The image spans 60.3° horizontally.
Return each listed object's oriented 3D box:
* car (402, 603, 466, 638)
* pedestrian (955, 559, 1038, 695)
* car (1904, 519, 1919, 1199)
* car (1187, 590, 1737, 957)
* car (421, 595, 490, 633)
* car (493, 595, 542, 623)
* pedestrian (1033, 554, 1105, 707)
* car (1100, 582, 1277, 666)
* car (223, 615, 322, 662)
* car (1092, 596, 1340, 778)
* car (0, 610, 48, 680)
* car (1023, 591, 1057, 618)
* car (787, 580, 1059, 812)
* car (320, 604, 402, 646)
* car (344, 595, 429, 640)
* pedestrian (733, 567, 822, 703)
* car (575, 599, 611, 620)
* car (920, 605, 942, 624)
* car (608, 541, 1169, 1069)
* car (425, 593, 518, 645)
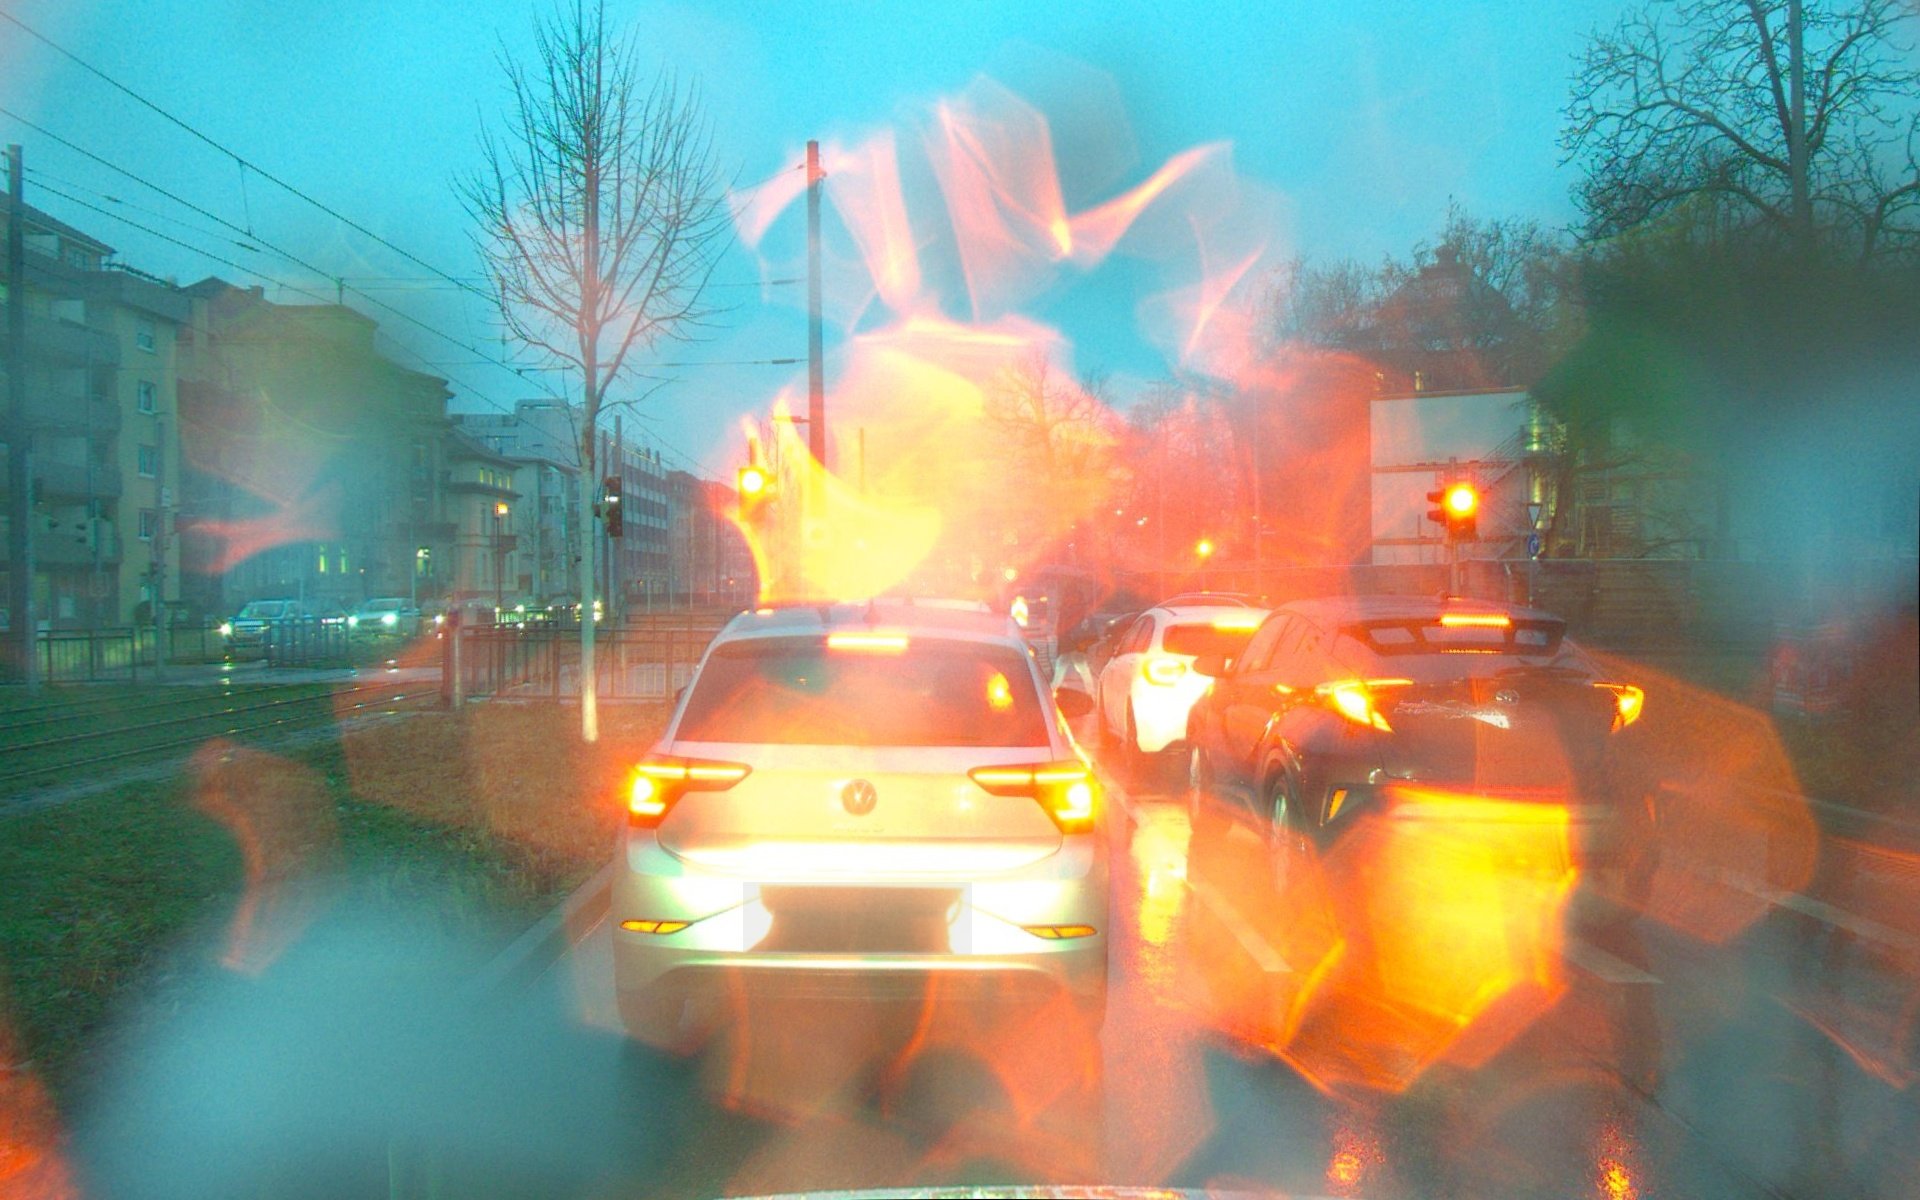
[{"bbox_3d":[-26.041,0.993,82.025,1.910,1.630,4.000,1,0,0],"label":"car"},{"bbox_3d":[0.554,0.404,25.655,0.946,2.049,1.000,-1,0,-23],"label":"pedestrian"},{"bbox_3d":[2.917,0.641,0.812,1.826,1.583,4.934,-1,1,-4],"label":"car"},{"bbox_3d":[2.405,0.729,8.977,1.763,1.537,3.895,-1,0,-1],"label":"car"},{"bbox_3d":[-23.001,0.619,75.575,1.910,1.630,4.000,1,0,0],"label":"car"},{"bbox_3d":[-27.234,0.542,101.839,1.910,1.630,4.000,1,0,0],"label":"car"},{"bbox_3d":[1.491,0.406,22.761,0.939,2.049,1.008,-1,0,2],"label":"pedestrian"},{"bbox_3d":[5.819,0.577,41.986,4.181,1.977,2.001,1,0,16],"label":"car"},{"bbox_3d":[-20.664,1.131,49.880,1.658,1.300,4.142,-1,0,-7],"label":"car"},{"bbox_3d":[2.255,0.715,15.469,1.710,1.458,3.731,1,0,0],"label":"car"},{"bbox_3d":[-19.860,0.891,32.223,1.821,1.355,4.314,1,0,-1],"label":"car"},{"bbox_3d":[4.504,0.236,93.578,1.702,1.444,3.703,-1,0,-1],"label":"car"},{"bbox_3d":[-0.265,0.609,13.152,1.762,1.492,4.585,-1,1,-1],"label":"car"},{"bbox_3d":[-24.806,1.013,68.638,1.910,1.630,4.000,1,0,0],"label":"car"},{"bbox_3d":[-21.240,0.626,61.422,1.829,1.604,3.999,-1,0,-1],"label":"car"},{"bbox_3d":[-2.831,0.521,25.657,0.998,2.049,0.948,-1,0,-41],"label":"pedestrian"},{"bbox_3d":[-28.554,0.728,128.907,1.910,1.630,4.000,1,0,0],"label":"car"},{"bbox_3d":[-2.252,1.137,130.703,1.702,1.444,4.393,-1,0,-1],"label":"car"},{"bbox_3d":[-0.305,0.595,6.934,1.659,1.560,3.998,1,0,-3],"label":"car"},{"bbox_3d":[-16.167,0.621,54.938,1.953,1.630,3.999,1,0,-2],"label":"car"}]
